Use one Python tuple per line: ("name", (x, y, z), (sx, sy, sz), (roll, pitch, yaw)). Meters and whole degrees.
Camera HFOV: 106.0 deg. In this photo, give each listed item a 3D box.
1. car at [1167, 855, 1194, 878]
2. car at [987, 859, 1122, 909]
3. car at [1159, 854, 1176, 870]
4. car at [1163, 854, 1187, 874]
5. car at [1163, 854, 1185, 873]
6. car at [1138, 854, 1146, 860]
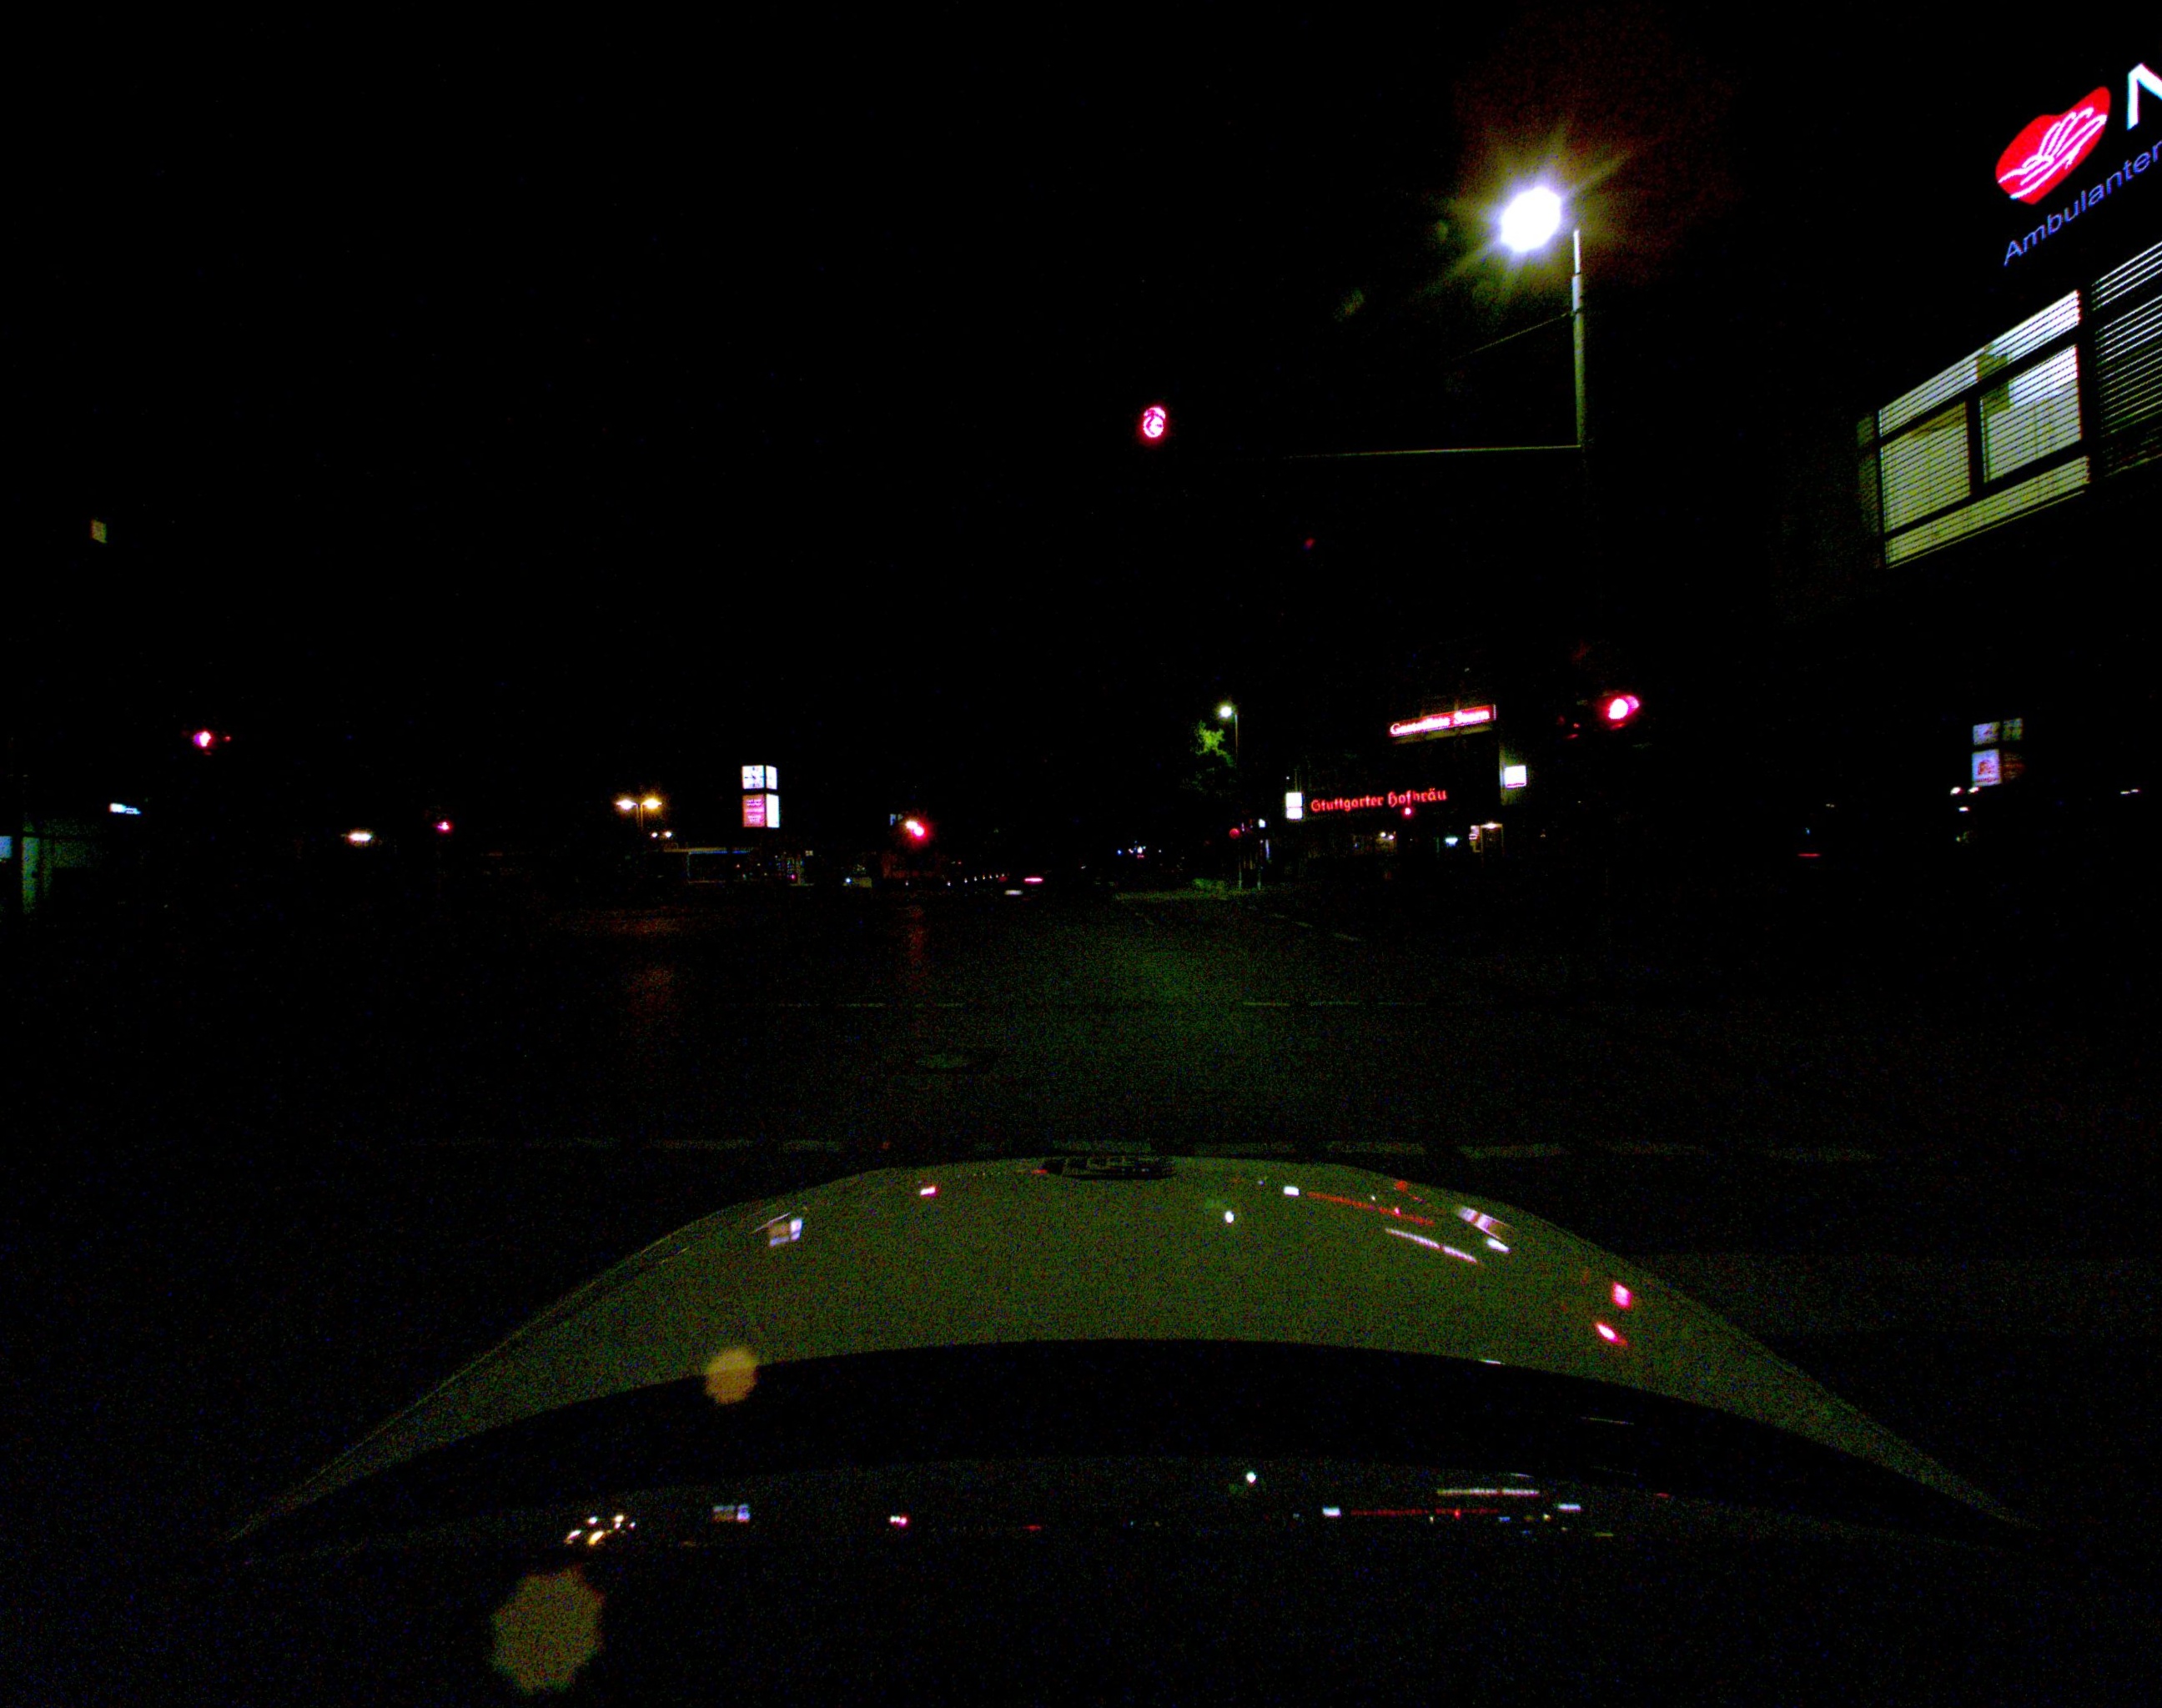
("car", (7.700, 0.959, 63.451), (1.868, 1.615, 4.005), (-2, -1, 5))
("car", (-0.773, 0.912, 26.358), (1.856, 1.454, 4.343), (-1, -1, 42))
("car", (10.045, 0.915, 94.468), (1.868, 1.683, 4.005), (-2, -1, 5))
("car", (7.883, 0.831, 68.776), (1.868, 1.615, 4.005), (-2, -1, 5))
("car", (8.678, 0.877, 76.432), (1.868, 1.729, 4.005), (-2, -1, 5))
("car", (16.691, 0.908, 223.625), (2.218, 1.651, 4.003), (-1, 0, 3))
